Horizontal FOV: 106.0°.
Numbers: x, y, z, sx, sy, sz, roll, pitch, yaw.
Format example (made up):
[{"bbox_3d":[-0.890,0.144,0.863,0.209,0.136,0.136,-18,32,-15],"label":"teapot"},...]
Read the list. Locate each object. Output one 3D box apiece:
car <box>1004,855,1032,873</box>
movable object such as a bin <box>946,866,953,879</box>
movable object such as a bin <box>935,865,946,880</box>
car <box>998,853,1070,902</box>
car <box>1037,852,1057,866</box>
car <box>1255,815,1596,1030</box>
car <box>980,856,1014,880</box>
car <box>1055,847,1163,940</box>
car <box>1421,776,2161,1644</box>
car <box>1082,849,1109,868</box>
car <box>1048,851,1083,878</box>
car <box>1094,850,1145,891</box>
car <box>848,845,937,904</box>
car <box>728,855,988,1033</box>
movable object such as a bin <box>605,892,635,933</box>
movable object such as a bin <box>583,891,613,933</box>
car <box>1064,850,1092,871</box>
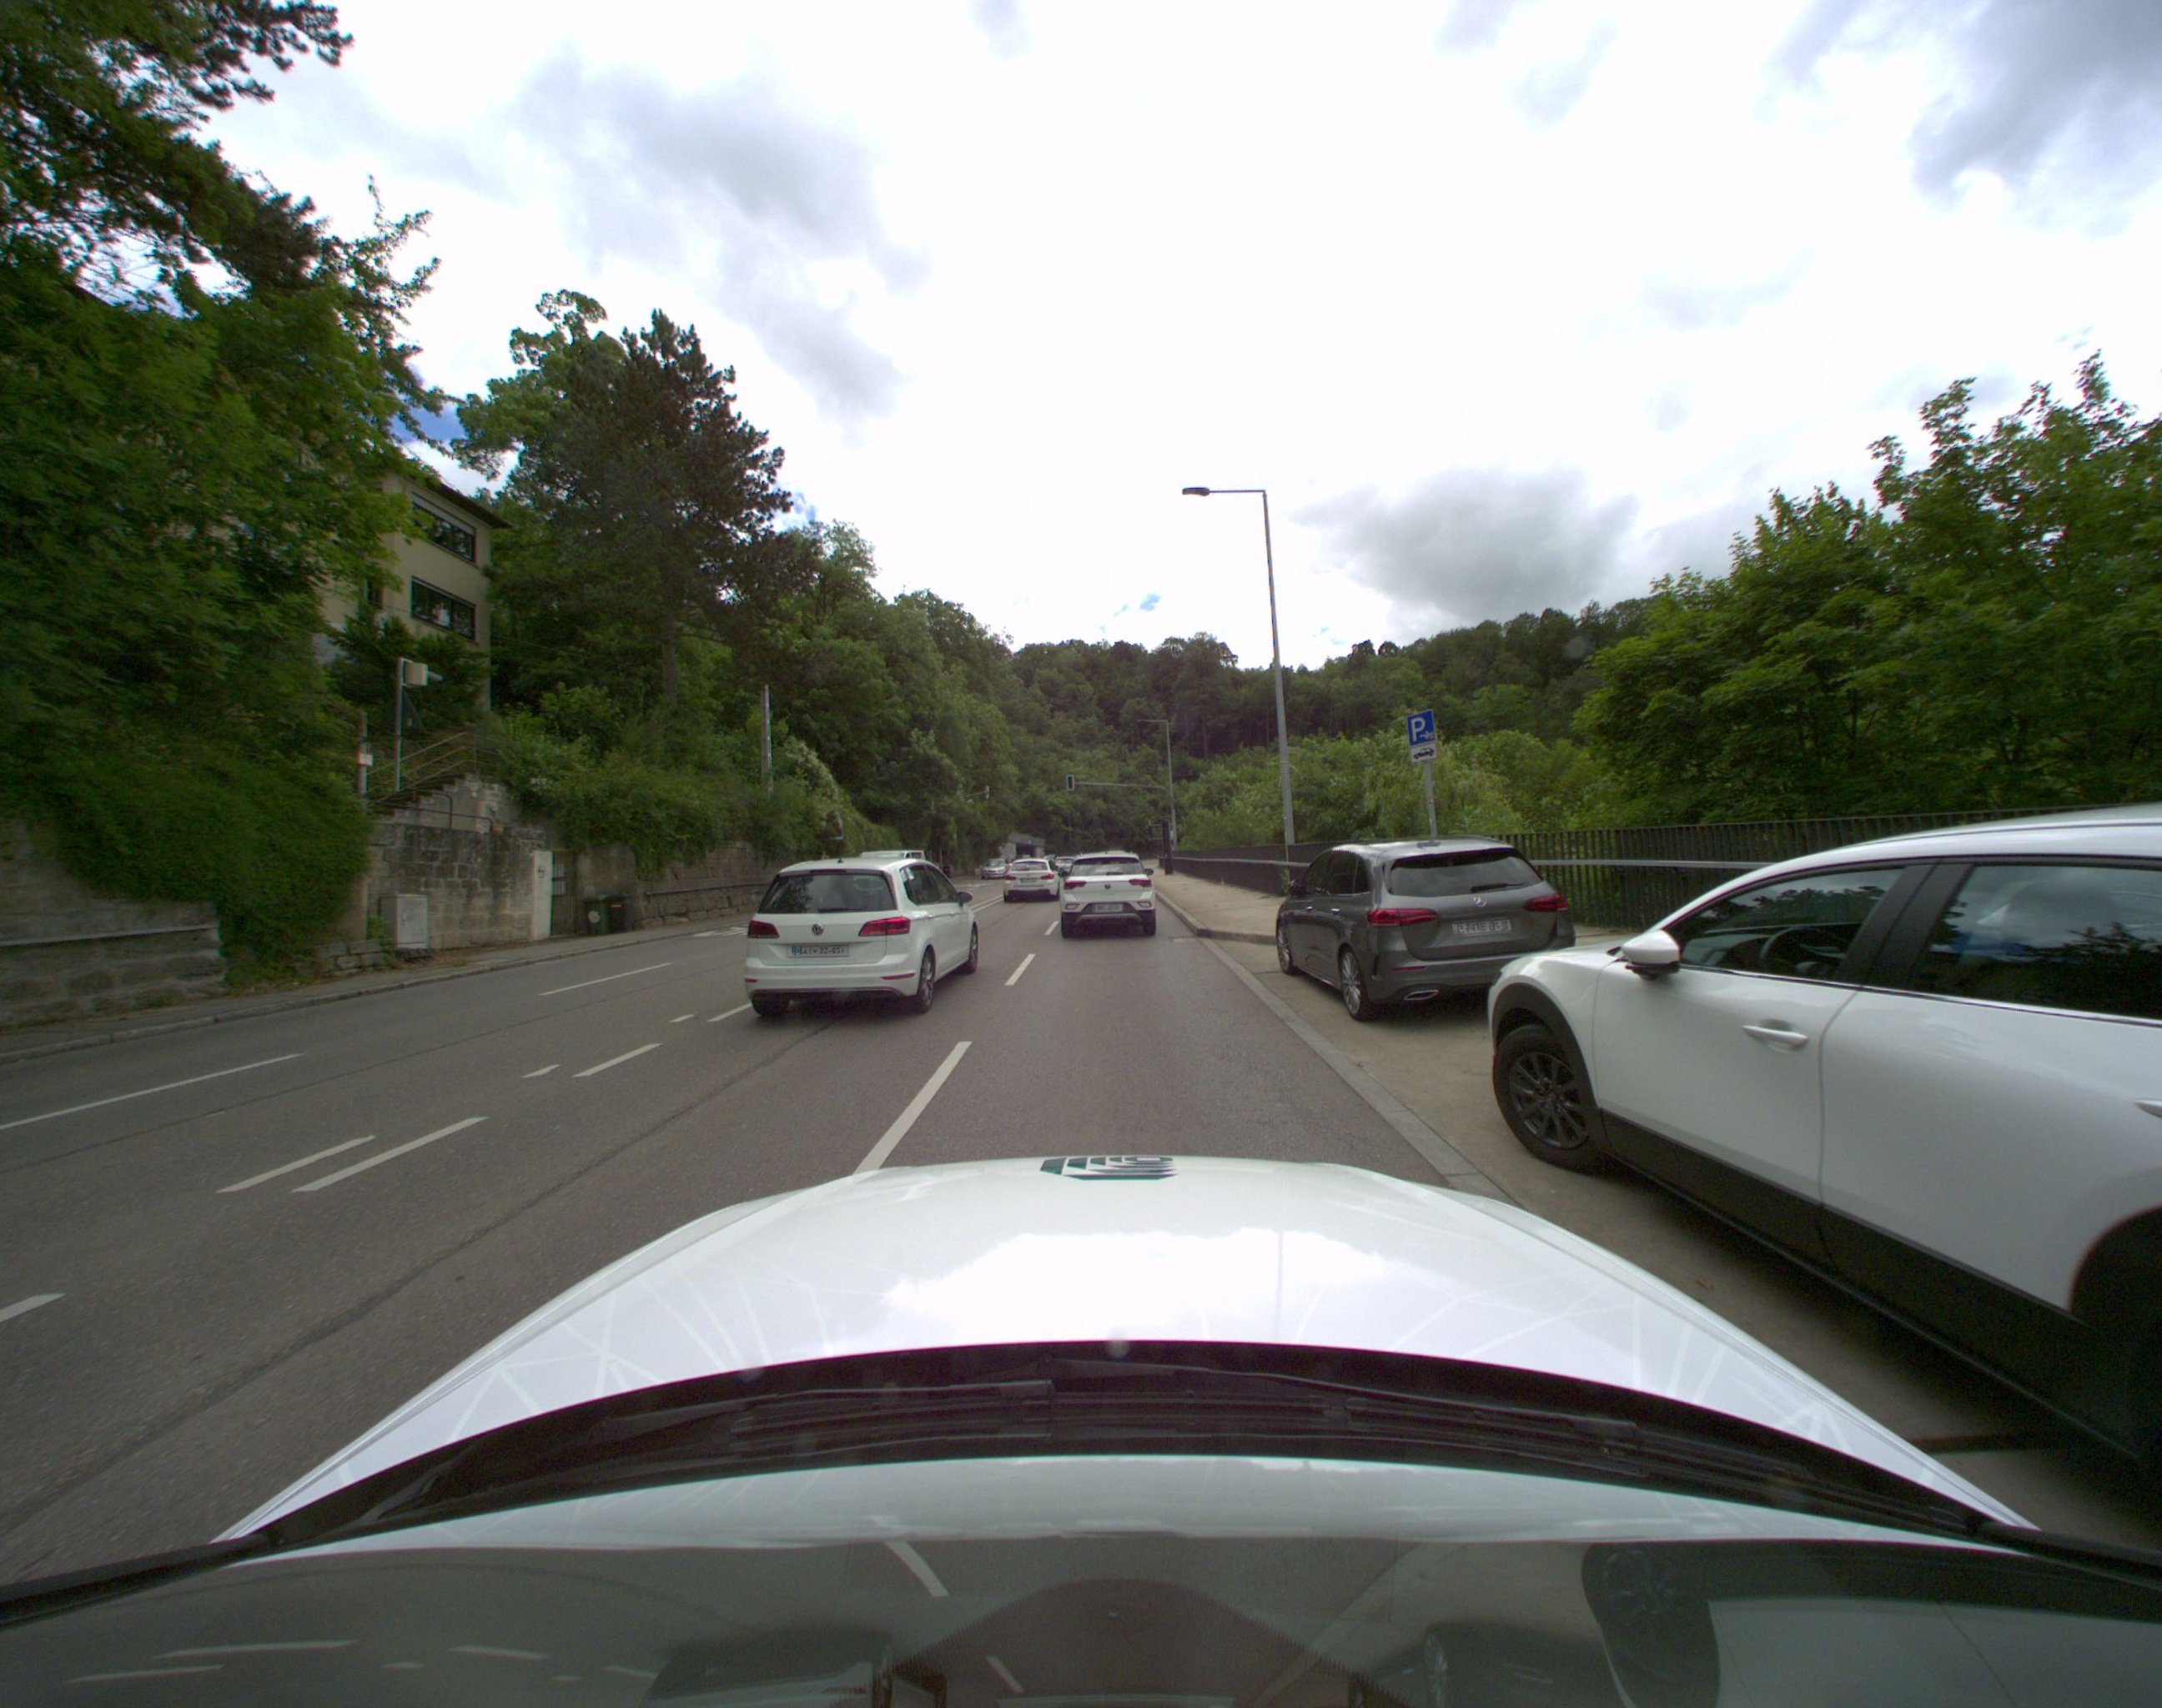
[{"bbox_3d":[-5.645,0.897,73.261,1.934,1.549,4.251,-3,-1,2],"label":"car"},{"bbox_3d":[-9.319,1.295,57.639,0.425,0.950,0.479,-1,-1,0],"label":"movable object such as a bin"},{"bbox_3d":[-9.904,1.298,57.539,0.639,1.067,0.557,-1,-1,0],"label":"movable object such as a bin"},{"bbox_3d":[-1.556,0.758,28.688,1.985,1.557,4.685,-1,0,3],"label":"car"},{"bbox_3d":[-3.588,0.504,85.903,1.774,1.482,4.213,-1,0,2],"label":"car"},{"bbox_3d":[3.193,0.544,8.653,1.750,1.544,4.429,-5,0,2],"label":"car"},{"bbox_3d":[-5.916,0.944,57.639,1.669,1.442,4.238,0,3,3],"label":"car"},{"bbox_3d":[0.437,0.703,16.365,1.809,1.539,4.005,-3,0,-2],"label":"car"},{"bbox_3d":[2.799,0.600,2.385,1.720,1.568,4.626,-4,-1,2],"label":"car"},{"bbox_3d":[1.523,0.423,84.581,1.980,1.864,4.013,-2,0,12],"label":"car"},{"bbox_3d":[-0.930,0.630,50.697,1.855,1.595,4.003,-1,0,3],"label":"car"},{"bbox_3d":[1.899,0.755,39.253,1.982,1.843,4.160,-1,0,9],"label":"car"},{"bbox_3d":[-7.156,0.736,31.505,1.914,2.005,5.359,-2,0,2],"label":"car"},{"bbox_3d":[-2.260,0.812,9.498,1.714,1.554,4.276,-2,0,1],"label":"car"},{"bbox_3d":[-10.819,1.362,19.117,0.478,0.936,0.365,-1,-1,-3],"label":"movable object such as a bin"},{"bbox_3d":[-11.325,1.358,19.101,0.476,0.971,0.367,-1,-1,-3],"label":"movable object such as a bin"},{"bbox_3d":[-0.255,0.567,70.594,1.984,1.741,4.005,-2,0,5],"label":"car"}]
